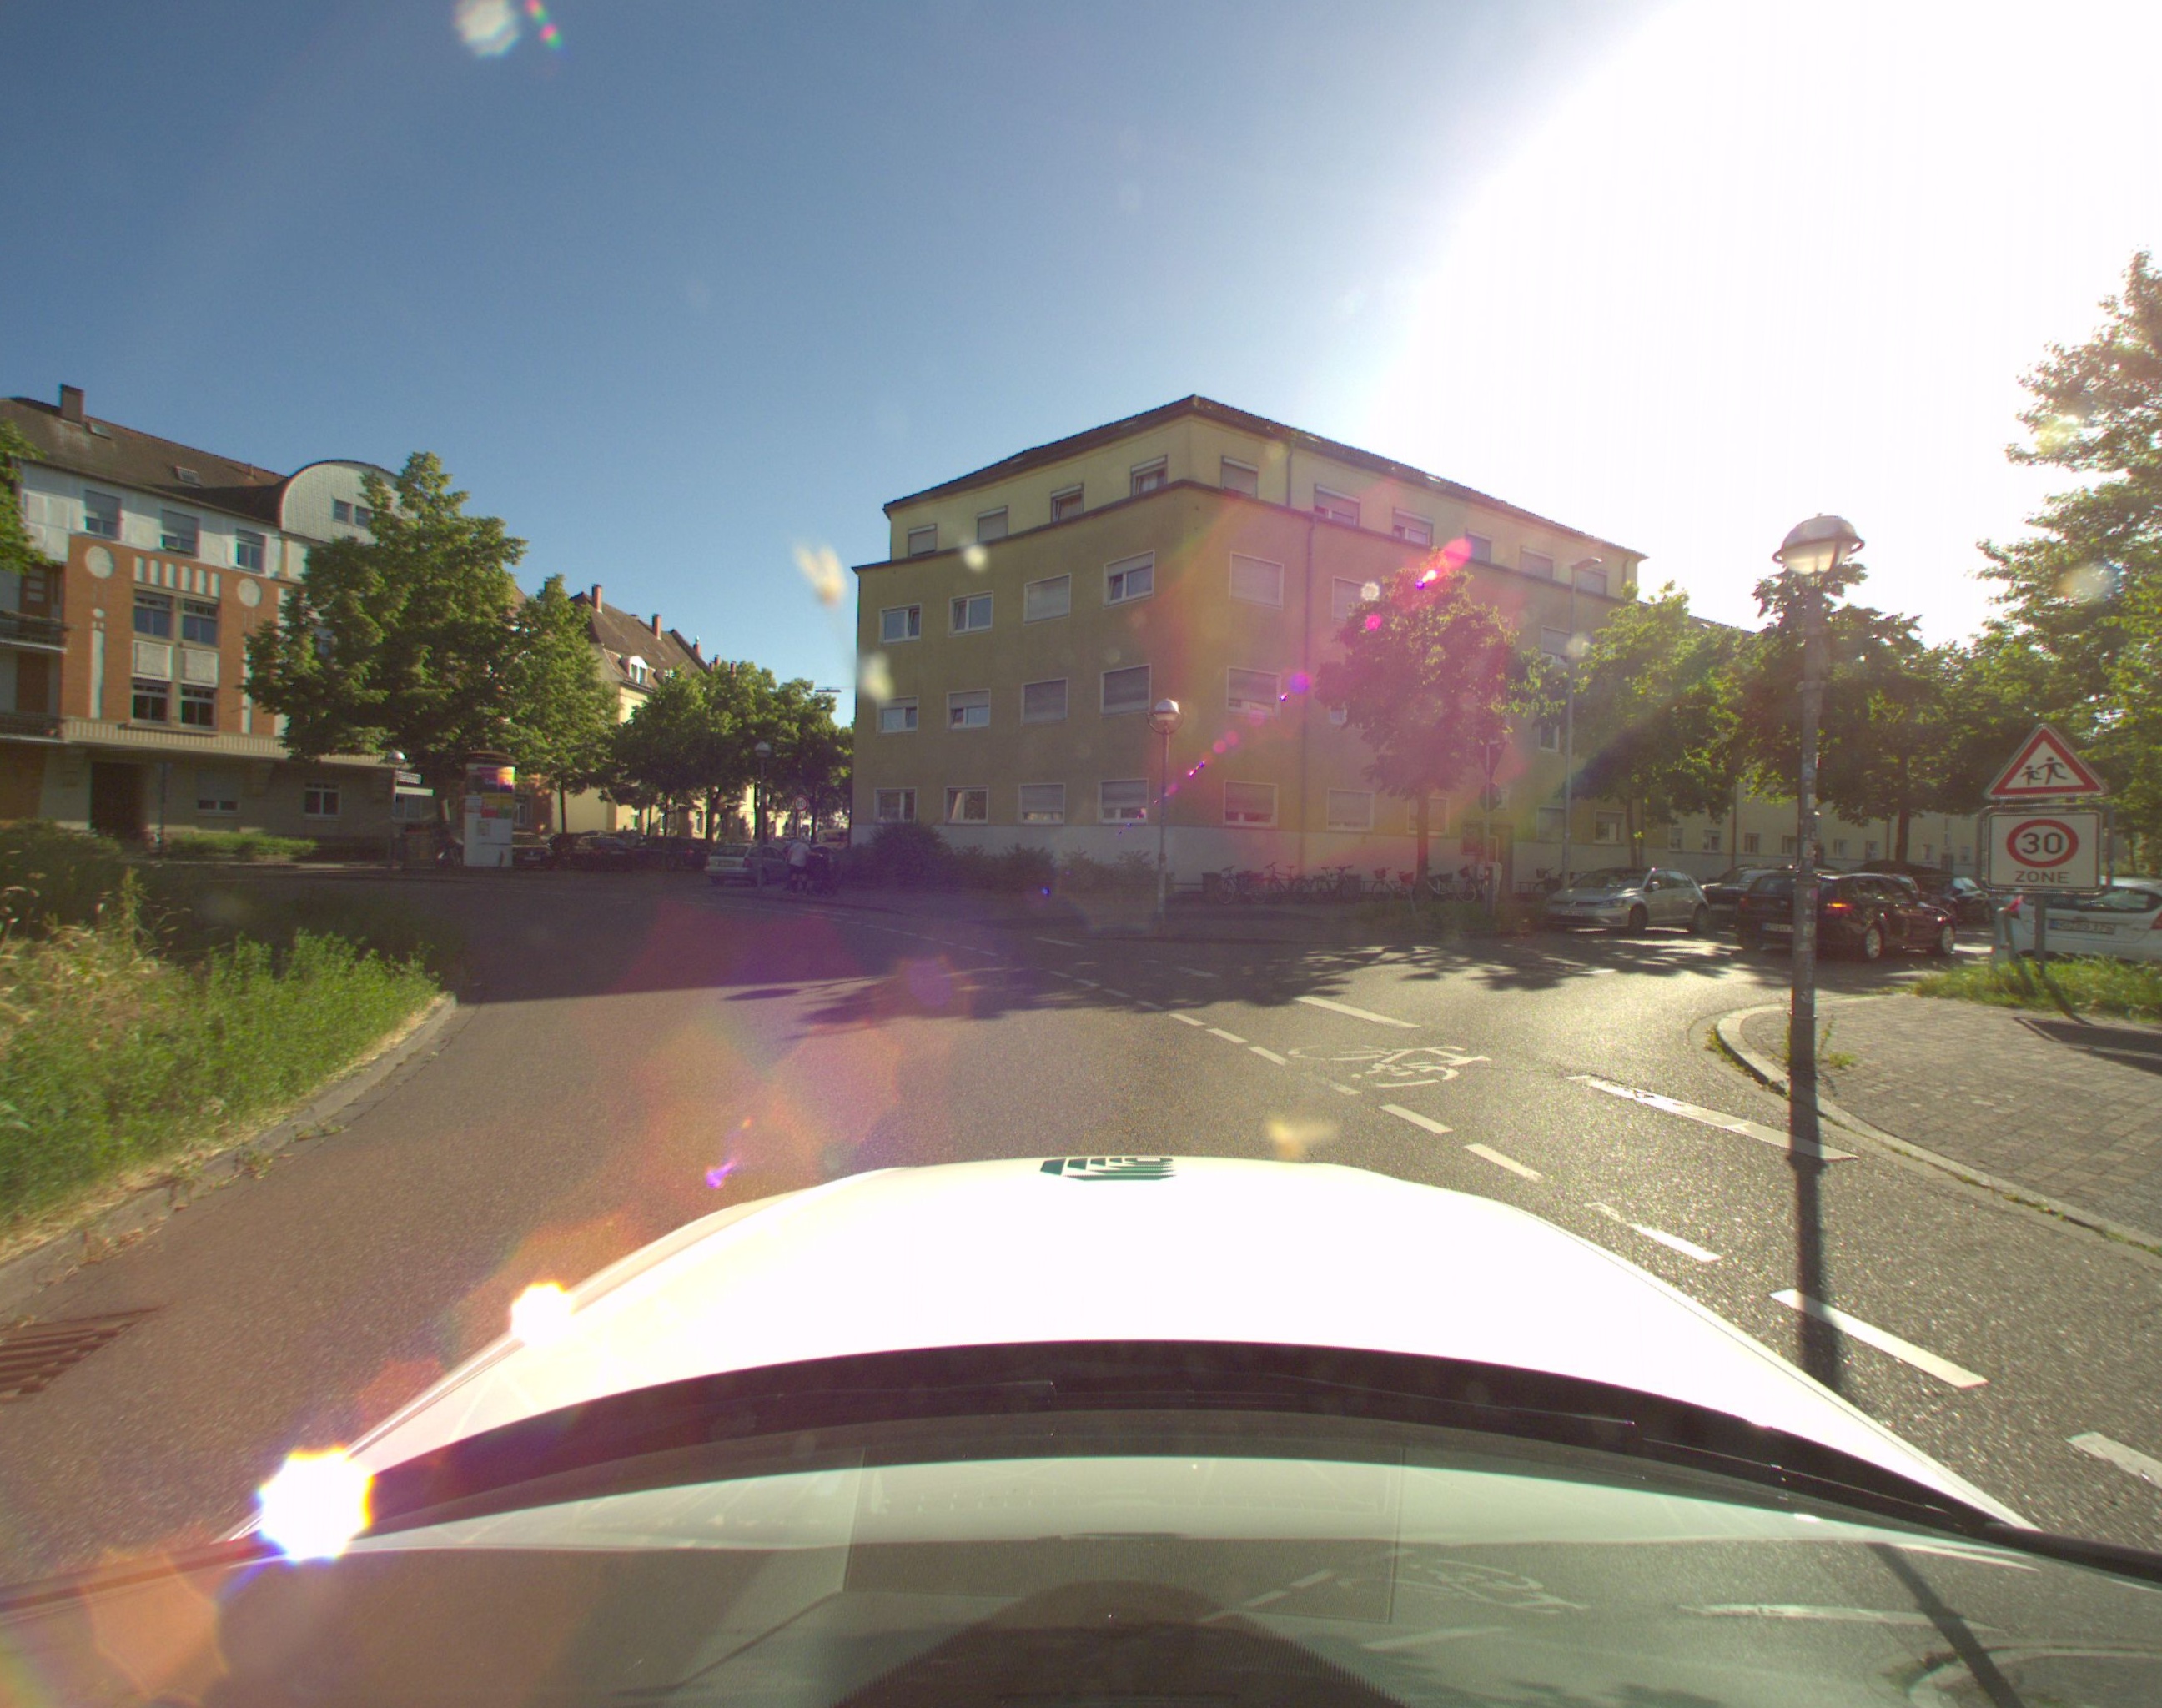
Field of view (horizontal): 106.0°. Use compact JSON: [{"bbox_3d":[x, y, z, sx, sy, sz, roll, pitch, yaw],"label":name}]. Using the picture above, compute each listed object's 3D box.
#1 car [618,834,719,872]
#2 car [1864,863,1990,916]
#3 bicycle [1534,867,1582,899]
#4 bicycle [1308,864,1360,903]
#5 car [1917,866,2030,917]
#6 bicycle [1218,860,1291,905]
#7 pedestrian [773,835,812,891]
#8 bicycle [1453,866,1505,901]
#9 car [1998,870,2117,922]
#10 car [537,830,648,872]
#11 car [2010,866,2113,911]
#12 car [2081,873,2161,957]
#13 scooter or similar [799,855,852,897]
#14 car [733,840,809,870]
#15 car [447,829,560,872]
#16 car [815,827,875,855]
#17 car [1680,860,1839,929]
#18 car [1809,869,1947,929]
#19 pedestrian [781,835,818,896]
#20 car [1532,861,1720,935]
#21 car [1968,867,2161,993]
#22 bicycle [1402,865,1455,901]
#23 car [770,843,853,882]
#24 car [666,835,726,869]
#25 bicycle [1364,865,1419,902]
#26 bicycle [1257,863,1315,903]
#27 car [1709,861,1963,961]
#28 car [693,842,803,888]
[{"bbox_3d":[-18.218,-0.034,36.061,3.648,1.546,1.738,1,-1,12],"label":"car"},{"bbox_3d":[25.930,1.060,24.951,4.012,1.510,1.783,1,-1,-30],"label":"car"},{"bbox_3d":[15.696,0.965,26.803,1.447,1.026,0.498,1,0,-15],"label":"bicycle"},{"bbox_3d":[6.987,0.812,22.458,1.453,1.026,0.496,1,0,-28],"label":"bicycle"},{"bbox_3d":[30.273,1.245,27.606,4.011,1.576,1.783,2,-1,-30],"label":"car"},{"bbox_3d":[4.507,0.729,21.225,1.785,1.107,0.501,1,0,5],"label":"bicycle"},{"bbox_3d":[-8.027,0.237,22.718,0.820,1.524,0.697,-1,0,0],"label":"pedestrian"},{"bbox_3d":[12.158,0.895,24.859,1.447,1.026,0.498,1,0,-15],"label":"bicycle"},{"bbox_3d":[30.876,1.283,25.732,4.012,1.510,1.783,1,-1,-30],"label":"car"},{"bbox_3d":[-19.438,-0.128,32.419,3.644,1.546,1.740,1,-1,17],"label":"car"},{"bbox_3d":[36.361,1.262,30.184,4.011,1.576,1.783,2,-1,-30],"label":"car"},{"bbox_3d":[18.093,0.969,13.146,3.727,1.255,1.784,1,-1,-28],"label":"car"},{"bbox_3d":[-6.471,0.536,20.638,0.906,1.023,0.904,0,0,23],"label":"scooter or similar"},{"bbox_3d":[-17.912,0.039,47.111,3.648,1.637,1.738,1,-1,12],"label":"car"},{"bbox_3d":[-22.266,-0.143,31.398,3.642,1.546,1.741,1,-1,20],"label":"car"},{"bbox_3d":[-17.485,-0.971,60.344,4.145,1.987,2.186,1,-1,38],"label":"car"},{"bbox_3d":[17.080,0.974,20.475,4.011,1.576,1.783,2,-1,-30],"label":"car"},{"bbox_3d":[22.424,1.219,22.888,4.012,1.510,1.783,1,-1,-30],"label":"car"},{"bbox_3d":[-7.194,0.277,20.827,0.645,1.524,0.698,-1,0,3],"label":"pedestrian"},{"bbox_3d":[11.798,0.900,17.577,4.011,1.411,1.787,2,-1,-30],"label":"car"},{"bbox_3d":[14.051,0.941,10.990,4.008,1.413,1.785,1,0,-27],"label":"car"},{"bbox_3d":[10.327,0.864,24.199,1.447,1.026,0.498,1,0,-15],"label":"bicycle"},{"bbox_3d":[-11.090,0.346,33.827,1.722,1.439,4.391,1,0,3],"label":"car"},{"bbox_3d":[-21.840,-0.129,46.141,3.950,1.800,1.743,1,-1,44],"label":"car"},{"bbox_3d":[8.920,0.845,23.380,1.447,1.026,0.498,1,0,-15],"label":"bicycle"},{"bbox_3d":[5.504,0.780,21.863,1.438,1.026,0.501,1,0,5],"label":"bicycle"},{"bbox_3d":[12.654,0.880,13.633,4.008,1.419,1.854,1,0,-27],"label":"car"},{"bbox_3d":[-11.475,0.360,28.441,1.719,1.411,4.494,1,0,3],"label":"car"}]
